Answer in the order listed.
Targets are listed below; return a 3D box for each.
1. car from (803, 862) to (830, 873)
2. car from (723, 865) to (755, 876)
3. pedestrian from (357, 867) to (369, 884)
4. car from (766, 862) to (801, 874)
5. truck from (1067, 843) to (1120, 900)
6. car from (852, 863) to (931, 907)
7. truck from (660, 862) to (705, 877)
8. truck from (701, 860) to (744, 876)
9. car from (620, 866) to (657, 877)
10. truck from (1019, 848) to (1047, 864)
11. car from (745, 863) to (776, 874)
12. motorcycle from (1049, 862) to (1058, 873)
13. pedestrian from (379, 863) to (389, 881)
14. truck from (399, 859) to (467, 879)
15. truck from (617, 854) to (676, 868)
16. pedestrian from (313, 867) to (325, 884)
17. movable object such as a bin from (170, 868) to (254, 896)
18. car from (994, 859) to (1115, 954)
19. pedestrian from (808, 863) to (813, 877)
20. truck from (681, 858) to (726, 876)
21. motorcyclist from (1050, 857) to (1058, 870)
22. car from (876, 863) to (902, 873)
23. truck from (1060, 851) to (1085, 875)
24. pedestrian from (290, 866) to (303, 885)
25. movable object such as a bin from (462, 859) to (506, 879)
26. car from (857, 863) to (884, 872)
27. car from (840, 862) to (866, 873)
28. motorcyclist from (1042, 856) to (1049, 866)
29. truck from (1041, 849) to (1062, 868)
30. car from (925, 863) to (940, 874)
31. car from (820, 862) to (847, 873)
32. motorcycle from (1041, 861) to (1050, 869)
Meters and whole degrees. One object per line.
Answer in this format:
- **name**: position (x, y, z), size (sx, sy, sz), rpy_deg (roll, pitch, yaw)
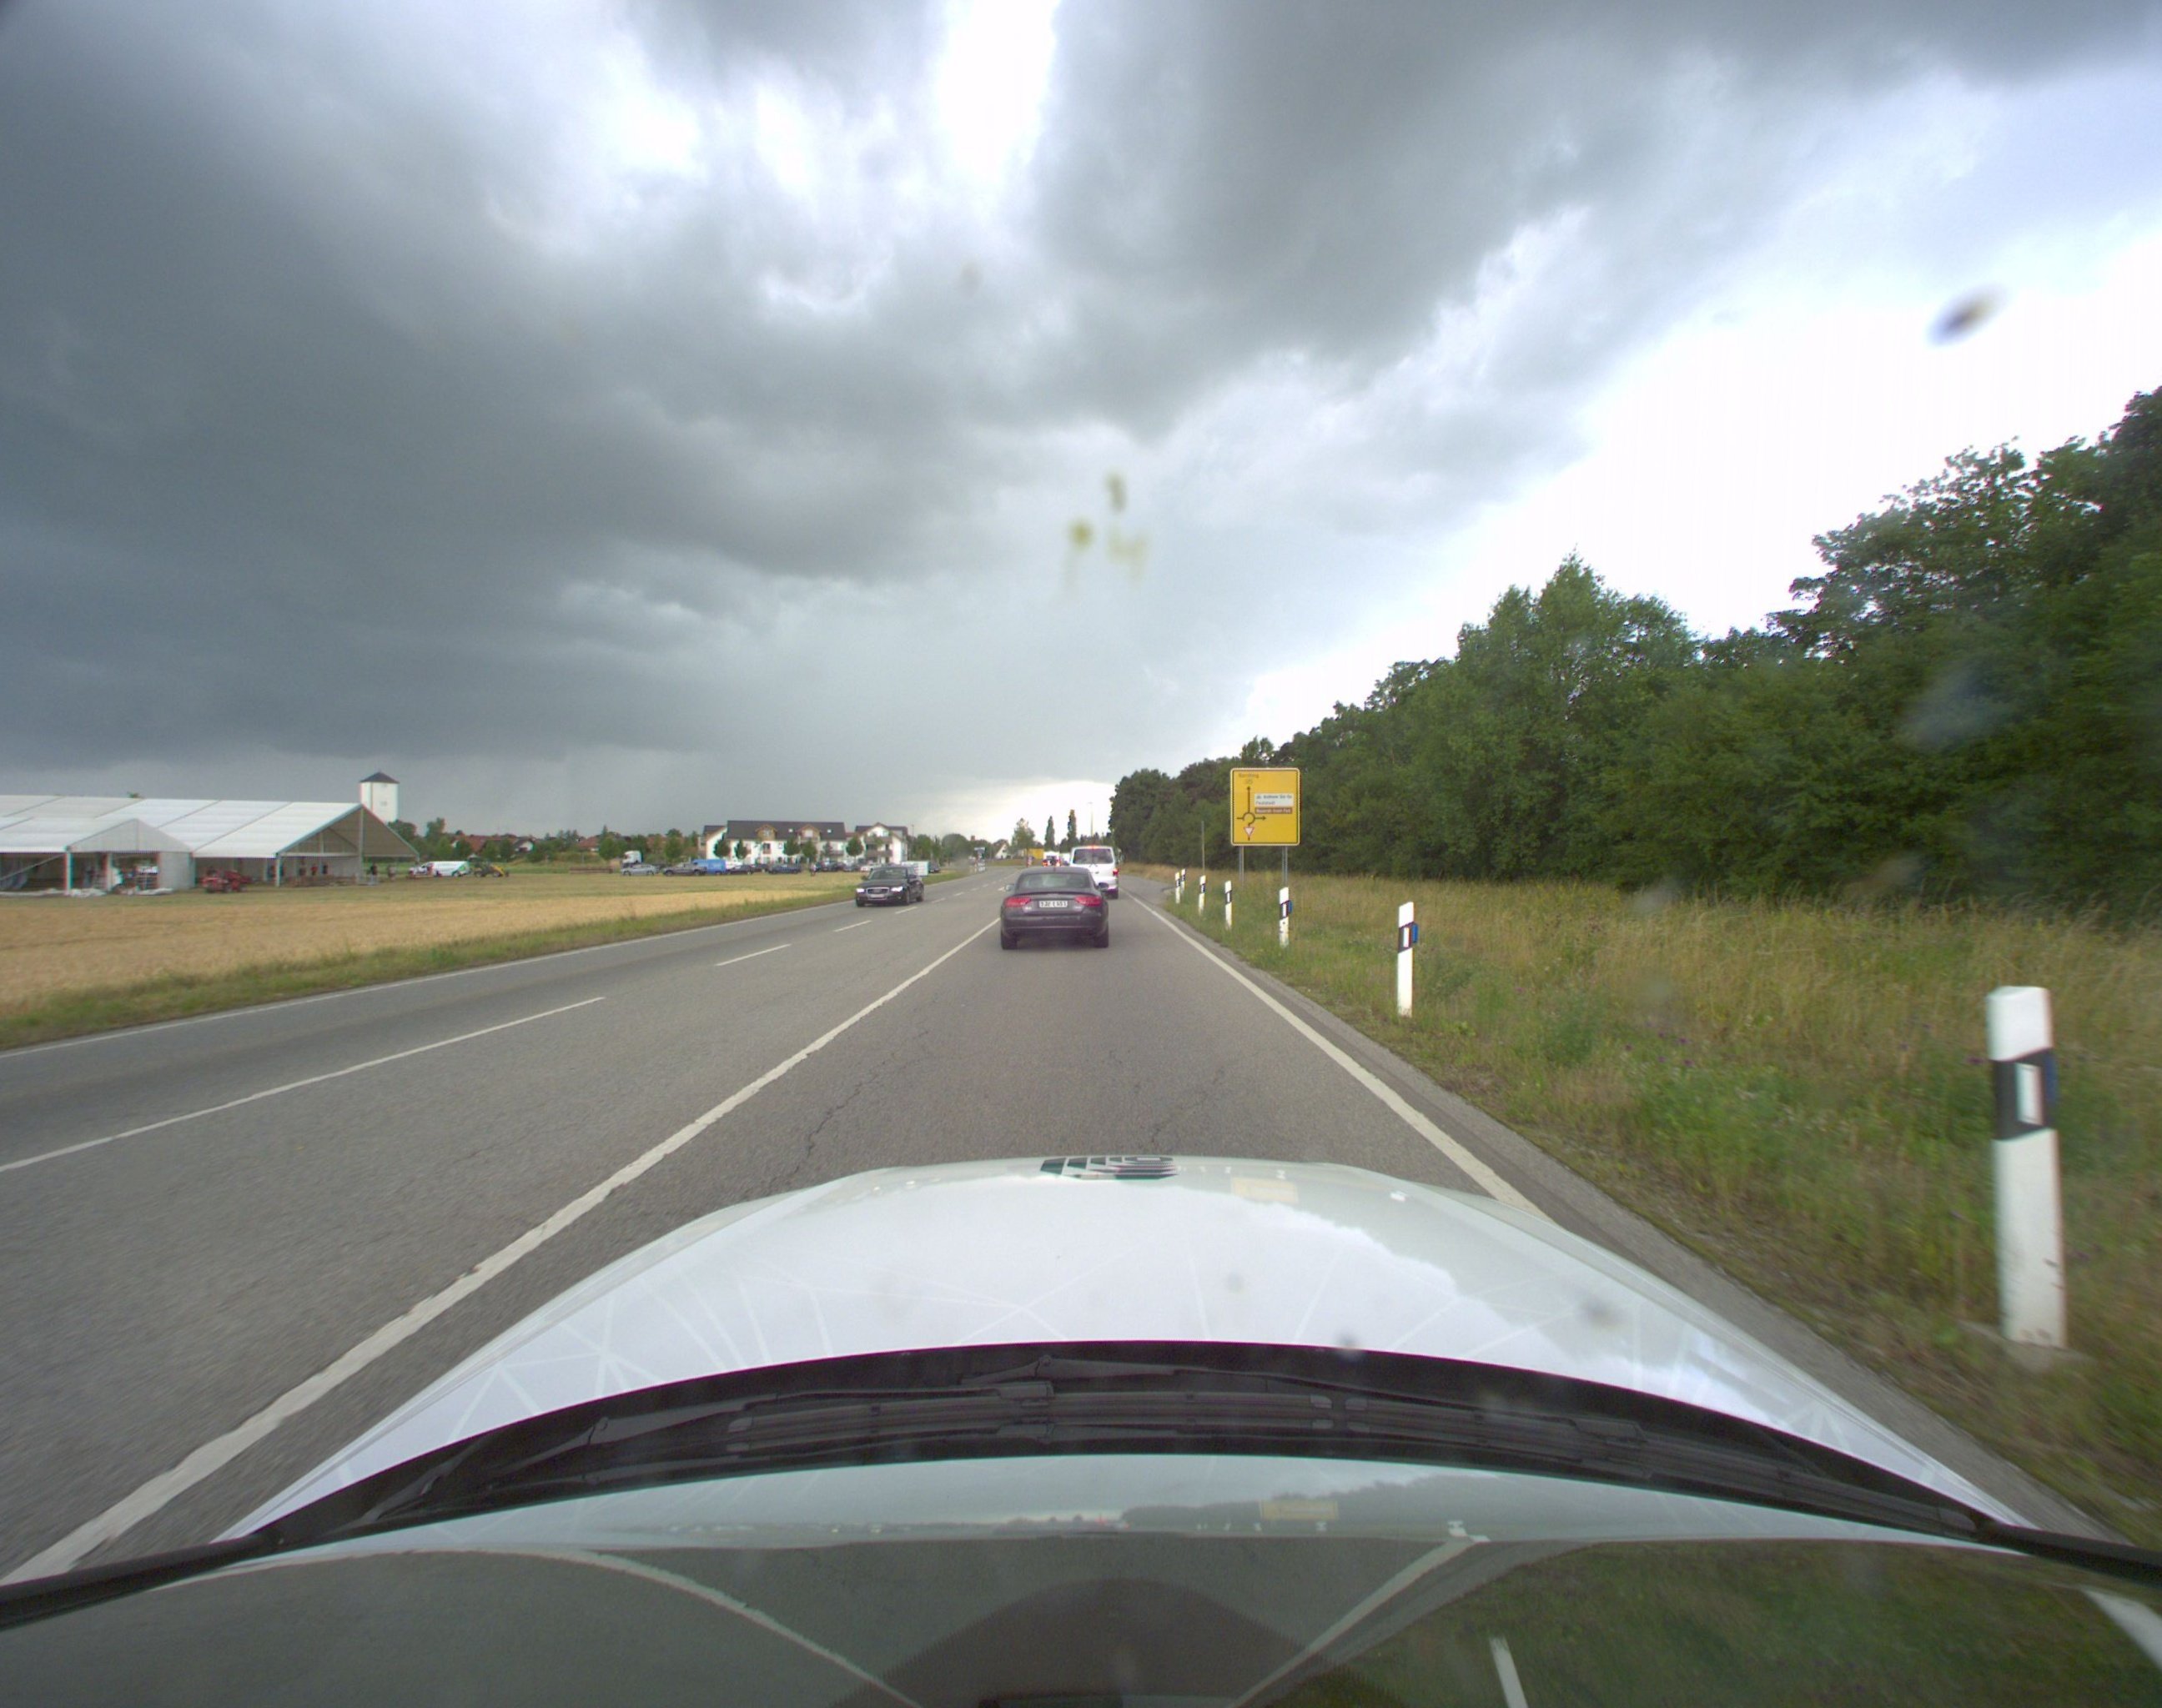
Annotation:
- **car**: position (-41.566, 2.094, 128.213), size (1.978, 1.629, 4.230), rpy_deg (-1, 0, 17)
- **car**: position (-48.537, 2.296, 115.605), size (4.171, 1.519, 1.986), rpy_deg (0, -1, -22)
- **pedestrian**: position (-74.456, 2.247, 84.442), size (0.691, 1.776, 0.689), rpy_deg (0, -1, -25)
- **car**: position (-43.136, 1.994, 118.038), size (4.733, 1.697, 1.986), rpy_deg (0, -1, -22)
- **truck**: position (0.420, 0.628, 31.348), size (1.898, 1.998, 4.626), rpy_deg (-1, 0, -1)
- **car**: position (-6.844, 1.080, 29.878), size (1.821, 1.410, 4.424), rpy_deg (-2, 0, 0)
- **truck**: position (-52.127, 2.052, 106.652), size (5.256, 1.921, 2.093), rpy_deg (0, -1, -28)
- **truck**: position (-52.132, 2.020, 118.441), size (5.590, 2.197, 2.586), rpy_deg (0, -1, -24)
- **car**: position (-58.621, 2.309, 107.970), size (4.319, 1.461, 1.874), rpy_deg (0, -1, -28)
- **truck**: position (-10.815, 0.385, 182.519), size (3.587, 3.578, 9.892), rpy_deg (0, 0, -19)
- **car**: position (-50.991, 2.303, 129.634), size (4.643, 1.697, 1.986), rpy_deg (0, -1, -22)
- **motorcycle**: position (-2.800, 1.334, 83.412), size (0.917, 1.094, 2.187), rpy_deg (0, 0, -1)
- **pedestrian**: position (-76.353, 1.967, 89.175), size (0.627, 1.866, 0.703), rpy_deg (0, -1, -24)
- **truck**: position (-78.562, 1.815, 98.872), size (6.080, 2.217, 2.695), rpy_deg (0, -1, -29)
- **truck**: position (-82.588, 1.251, 154.971), size (9.316, 2.530, 3.299), rpy_deg (-1, -1, -1)
- **pedestrian**: position (-76.455, 2.152, 81.710), size (0.718, 1.744, 0.660), rpy_deg (-1, -1, 33)
- **movable object such as a bin**: position (-62.413, 1.988, 58.607), size (2.601, 1.864, 4.438), rpy_deg (0, -1, -24)
- **car**: position (-0.467, 0.831, 14.871), size (1.870, 1.454, 4.174), rpy_deg (-1, 0, -1)
- **pedestrian**: position (-35.163, 2.075, 105.898), size (0.549, 1.786, 0.675), rpy_deg (-1, -1, -13)
- **truck**: position (-51.346, 1.749, 110.865), size (5.473, 2.446, 2.375), rpy_deg (0, -1, -24)
- **motorcyclist**: position (-2.792, 0.975, 83.279), size (0.770, 1.383, 0.819), rpy_deg (0, -1, -2)
- **car**: position (-29.491, 2.114, 125.003), size (1.978, 1.446, 4.230), rpy_deg (-1, 0, 17)
- **truck**: position (-0.761, 0.795, 72.341), size (2.187, 2.014, 5.082), rpy_deg (-1, -1, -1)
- **pedestrian**: position (-76.977, 2.093, 79.907), size (0.750, 1.779, 0.736), rpy_deg (-1, -1, 33)
- **movable object such as a bin**: position (-72.018, 1.795, 98.323), size (4.008, 2.243, 1.868), rpy_deg (0, -1, -29)
- **car**: position (-32.388, 2.067, 125.326), size (1.978, 1.446, 4.230), rpy_deg (-1, 0, 17)
- **car**: position (-35.151, 2.103, 125.663), size (1.978, 1.536, 4.230), rpy_deg (-1, 0, 17)
- **motorcyclist**: position (-4.727, 0.907, 108.683), size (0.785, 1.356, 0.852), rpy_deg (0, -1, -7)
- **truck**: position (-4.380, 0.713, 120.905), size (2.624, 2.737, 5.851), rpy_deg (0, -1, -8)
- **car**: position (-20.567, 1.969, 112.855), size (1.995, 1.442, 3.984), rpy_deg (0, 0, -12)
- **car**: position (-38.310, 2.088, 126.032), size (1.978, 1.629, 4.230), rpy_deg (-1, 0, 17)
- **motorcycle**: position (-4.743, 1.490, 108.596), size (0.943, 1.019, 2.278), rpy_deg (0, 0, -7)
